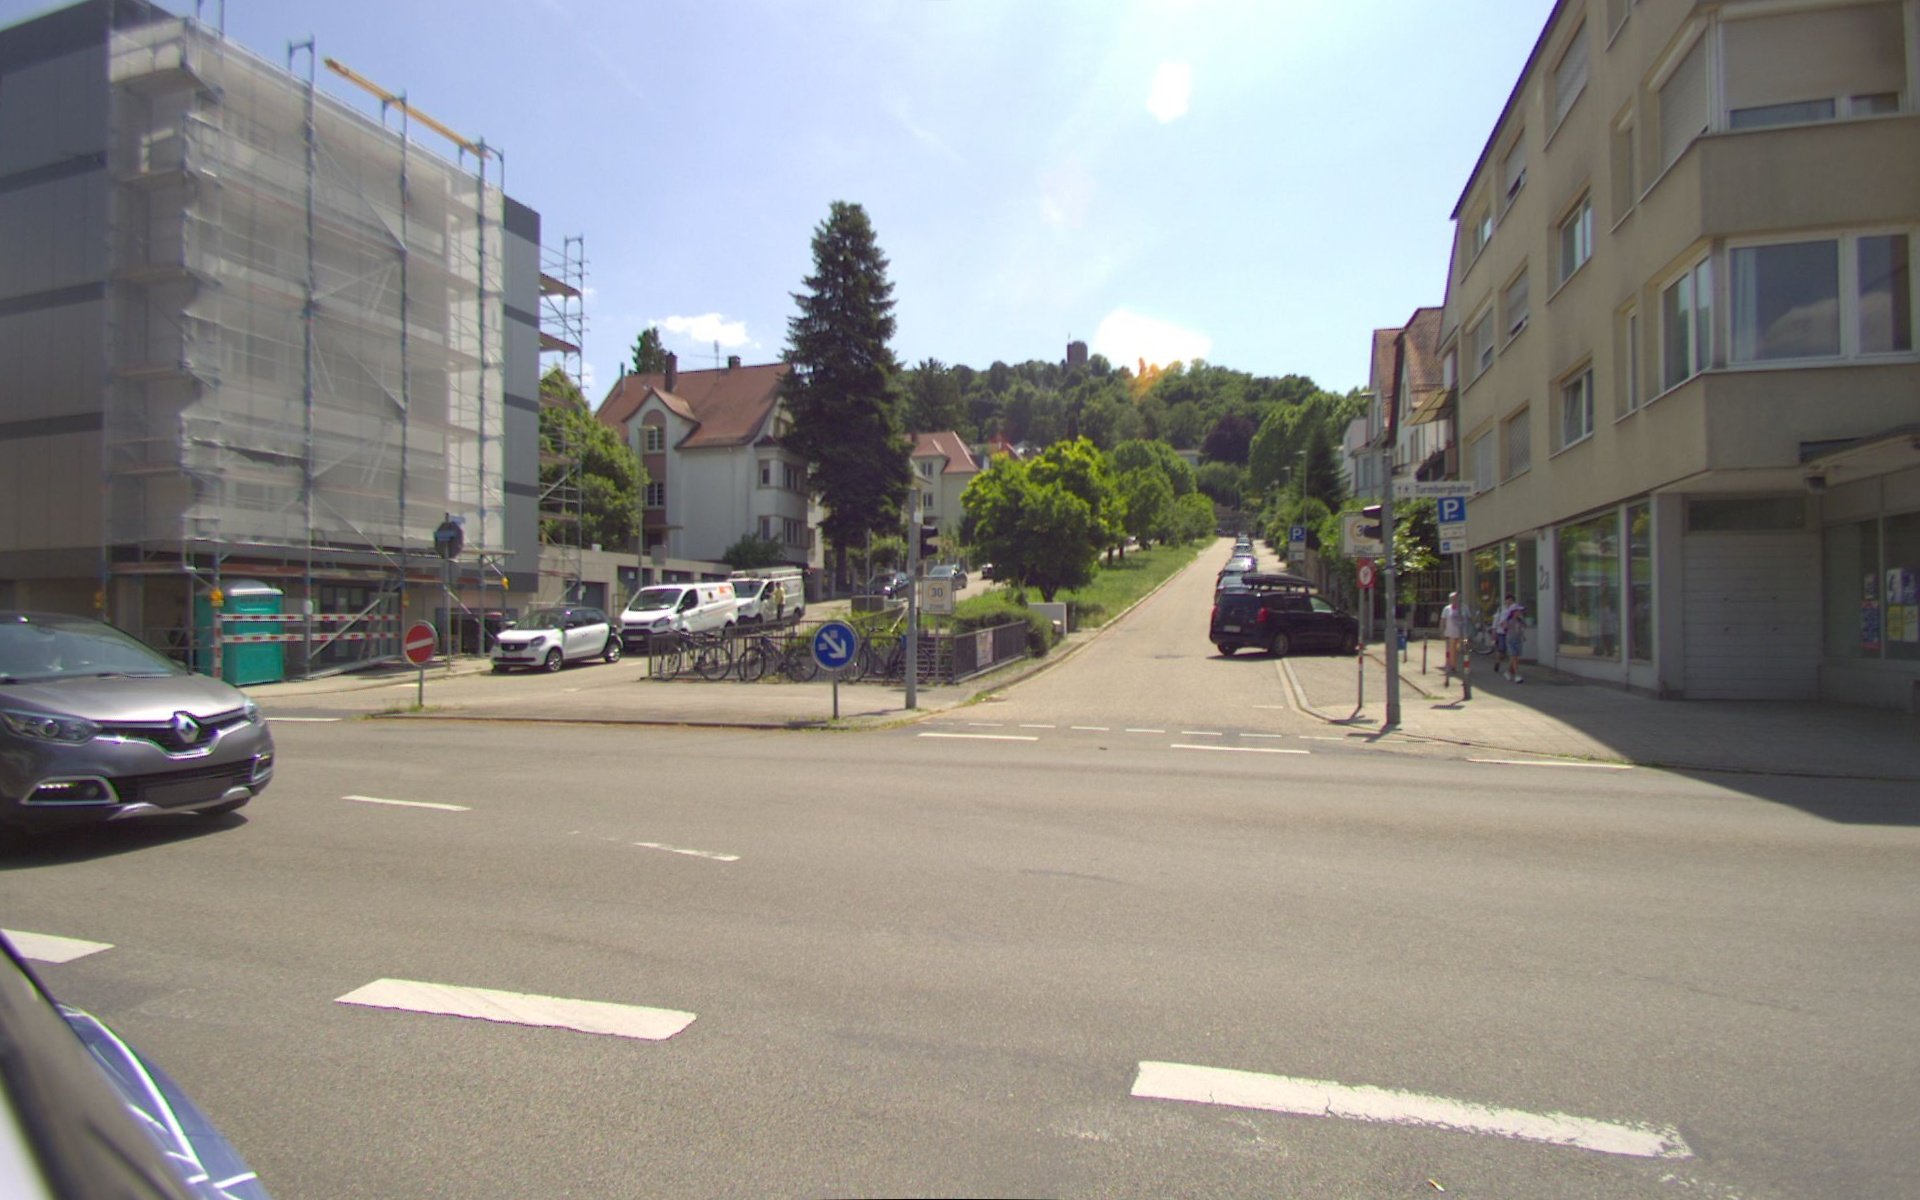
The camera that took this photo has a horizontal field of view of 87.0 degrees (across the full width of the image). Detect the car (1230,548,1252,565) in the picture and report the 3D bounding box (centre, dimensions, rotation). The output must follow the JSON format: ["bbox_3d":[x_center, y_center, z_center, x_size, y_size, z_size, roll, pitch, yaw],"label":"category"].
[{"bbox_3d":[25.232,-3.906,91.017,1.842,1.431,3.981,-1,3,15],"label":"car"}]

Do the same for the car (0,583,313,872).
[{"bbox_3d":[-6.896,0.762,7.228,3.967,1.644,1.749,-1,0,19],"label":"car"}]

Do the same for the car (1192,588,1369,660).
[{"bbox_3d":[8.116,0.565,25.551,4.257,1.676,2.005,0,-1,-34],"label":"car"}]

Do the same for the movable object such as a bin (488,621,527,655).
[{"bbox_3d":[-12.958,1.086,28.961,0.698,0.933,0.736,-1,0,20],"label":"movable object such as a bin"}]

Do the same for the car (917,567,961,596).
[{"bbox_3d":[-1.187,-1.100,59.019,1.740,1.458,3.726,-1,3,12],"label":"car"}]

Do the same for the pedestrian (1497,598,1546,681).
[{"bbox_3d":[10.197,0.711,18.399,0.643,1.487,0.683,-1,-1,19],"label":"pedestrian"}]

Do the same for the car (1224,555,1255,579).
[{"bbox_3d":[18.028,-2.160,65.341,1.842,1.431,3.981,-1,3,15],"label":"car"}]

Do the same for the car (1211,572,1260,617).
[{"bbox_3d":[10.973,-0.254,40.358,1.793,1.562,3.981,-1,3,15],"label":"car"}]

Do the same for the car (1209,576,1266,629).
[{"bbox_3d":[9.703,0.046,35.404,1.793,1.628,3.981,-1,3,15],"label":"car"}]

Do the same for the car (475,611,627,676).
[{"bbox_3d":[-10.364,1.073,25.954,1.742,1.458,3.722,-1,0,15],"label":"car"}]

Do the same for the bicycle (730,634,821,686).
[{"bbox_3d":[-3.571,1.155,19.590,1.730,0.974,0.396,-1,-1,15],"label":"bicycle"}]

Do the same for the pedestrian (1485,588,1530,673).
[{"bbox_3d":[10.784,0.595,19.935,0.643,1.645,0.683,-1,-1,19],"label":"pedestrian"}]

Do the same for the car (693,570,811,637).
[{"bbox_3d":[-7.631,0.053,37.674,2.058,2.193,4.983,-1,2,18],"label":"car"}]

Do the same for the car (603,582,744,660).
[{"bbox_3d":[-8.679,0.558,31.192,1.980,2.028,4.992,-1,2,13],"label":"car"}]

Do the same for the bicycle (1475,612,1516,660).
[{"bbox_3d":[12.346,0.815,23.363,0.494,1.034,1.733,-1,-1,17],"label":"bicycle"}]

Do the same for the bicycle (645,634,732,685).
[{"bbox_3d":[-5.374,1.177,20.045,1.702,0.974,0.396,-1,-1,15],"label":"bicycle"}]

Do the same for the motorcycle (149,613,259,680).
[{"bbox_3d":[-17.771,1.056,23.845,2.008,1.483,0.884,-1,-1,-33],"label":"motorcycle"}]

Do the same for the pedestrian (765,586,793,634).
[{"bbox_3d":[-6.563,0.357,36.758,0.738,1.727,0.707,-1,-1,21],"label":"pedestrian"}]

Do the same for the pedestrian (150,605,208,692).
[{"bbox_3d":[-16.916,1.032,21.943,0.696,1.847,0.792,-1,-1,-10],"label":"pedestrian"}]

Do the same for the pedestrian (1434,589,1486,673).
[{"bbox_3d":[10.089,0.618,20.457,0.816,1.645,0.799,-1,-1,19],"label":"pedestrian"}]

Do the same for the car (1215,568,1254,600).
[{"bbox_3d":[13.826,-0.839,50.950,1.793,1.431,3.981,-1,3,15],"label":"car"}]

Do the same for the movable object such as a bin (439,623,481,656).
[{"bbox_3d":[-14.650,1.154,29.678,0.820,0.933,0.736,-1,0,20],"label":"movable object such as a bin"}]

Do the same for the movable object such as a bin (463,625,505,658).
[{"bbox_3d":[-13.758,1.195,29.236,0.820,0.933,0.736,-1,0,20],"label":"movable object such as a bin"}]

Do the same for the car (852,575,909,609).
[{"bbox_3d":[-3.849,-0.429,49.550,1.740,1.458,3.726,-1,3,12],"label":"car"}]

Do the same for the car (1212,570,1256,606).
[{"bbox_3d":[12.231,-0.554,45.238,1.793,1.397,3.981,-1,3,15],"label":"car"}]

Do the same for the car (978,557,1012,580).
[{"bbox_3d":[2.512,-2.230,71.880,1.740,1.458,3.726,-1,3,12],"label":"car"}]

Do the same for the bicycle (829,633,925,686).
[{"bbox_3d":[-1.561,1.109,18.989,1.767,0.974,0.396,-1,-1,15],"label":"bicycle"}]
